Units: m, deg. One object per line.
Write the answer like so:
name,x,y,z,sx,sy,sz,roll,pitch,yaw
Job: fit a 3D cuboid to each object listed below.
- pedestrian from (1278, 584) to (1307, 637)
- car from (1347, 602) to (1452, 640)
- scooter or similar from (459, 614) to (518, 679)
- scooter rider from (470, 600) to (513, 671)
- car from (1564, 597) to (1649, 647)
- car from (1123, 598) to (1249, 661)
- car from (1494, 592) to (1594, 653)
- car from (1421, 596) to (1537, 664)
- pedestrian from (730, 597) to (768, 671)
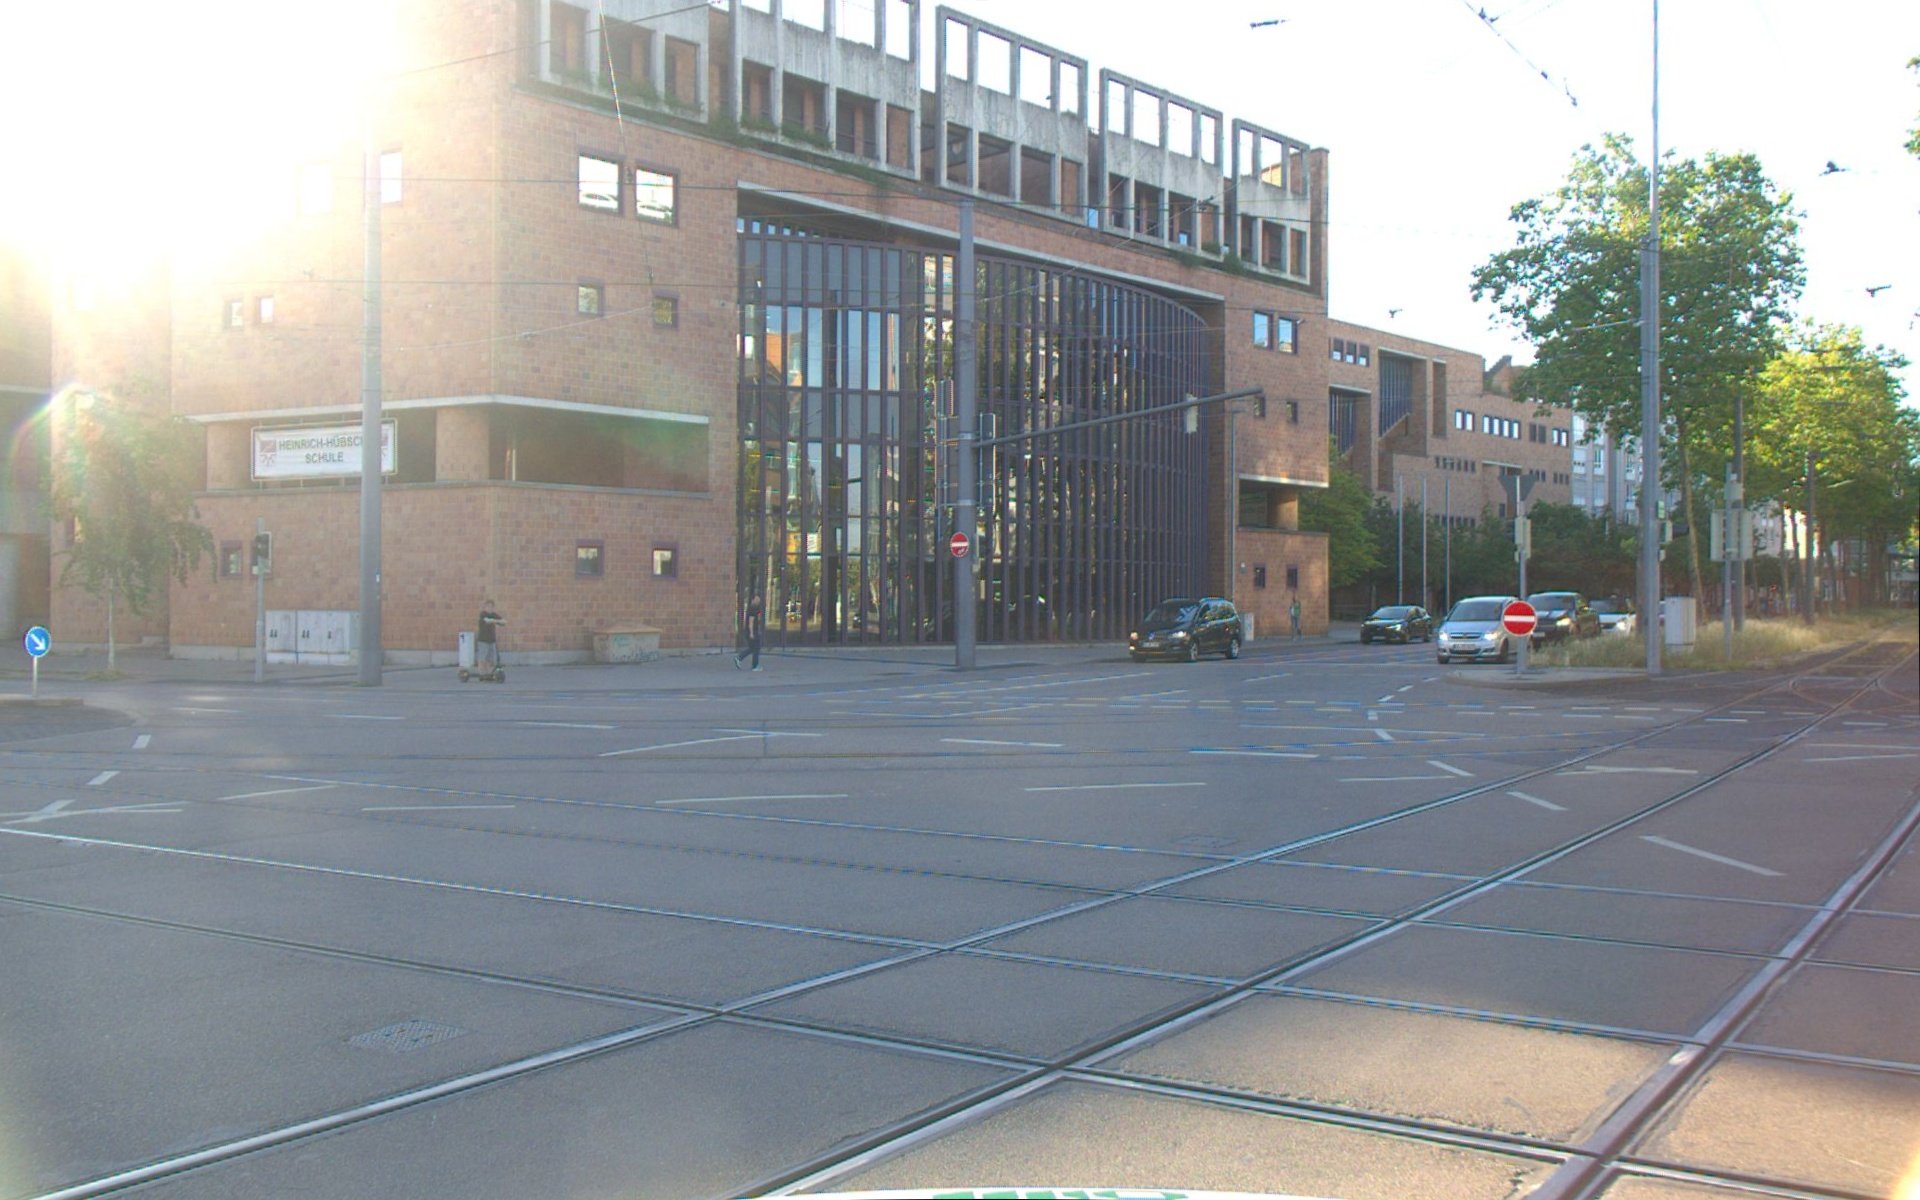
pedestrian,12.998,0.421,64.674,0.745,2.049,0.893,0,0,-24
car,16.811,0.791,63.169,3.958,1.400,1.896,0,0,-38
scooter or similar,-9.974,0.974,34.963,1.106,1.341,0.529,-1,0,22
scooter rider,-9.886,0.750,34.930,0.705,1.486,0.507,-1,0,23
car,21.431,0.711,54.755,1.820,1.579,4.314,-1,0,32
car,6.430,0.799,46.697,1.800,1.683,4.488,-1,-1,32
car,16.973,0.623,47.949,1.820,1.679,4.314,-1,0,32
car,13.081,0.716,41.540,1.699,1.625,4.314,-1,0,32
pedestrian,-5.054,0.801,39.605,0.808,1.746,0.661,0,0,-17
